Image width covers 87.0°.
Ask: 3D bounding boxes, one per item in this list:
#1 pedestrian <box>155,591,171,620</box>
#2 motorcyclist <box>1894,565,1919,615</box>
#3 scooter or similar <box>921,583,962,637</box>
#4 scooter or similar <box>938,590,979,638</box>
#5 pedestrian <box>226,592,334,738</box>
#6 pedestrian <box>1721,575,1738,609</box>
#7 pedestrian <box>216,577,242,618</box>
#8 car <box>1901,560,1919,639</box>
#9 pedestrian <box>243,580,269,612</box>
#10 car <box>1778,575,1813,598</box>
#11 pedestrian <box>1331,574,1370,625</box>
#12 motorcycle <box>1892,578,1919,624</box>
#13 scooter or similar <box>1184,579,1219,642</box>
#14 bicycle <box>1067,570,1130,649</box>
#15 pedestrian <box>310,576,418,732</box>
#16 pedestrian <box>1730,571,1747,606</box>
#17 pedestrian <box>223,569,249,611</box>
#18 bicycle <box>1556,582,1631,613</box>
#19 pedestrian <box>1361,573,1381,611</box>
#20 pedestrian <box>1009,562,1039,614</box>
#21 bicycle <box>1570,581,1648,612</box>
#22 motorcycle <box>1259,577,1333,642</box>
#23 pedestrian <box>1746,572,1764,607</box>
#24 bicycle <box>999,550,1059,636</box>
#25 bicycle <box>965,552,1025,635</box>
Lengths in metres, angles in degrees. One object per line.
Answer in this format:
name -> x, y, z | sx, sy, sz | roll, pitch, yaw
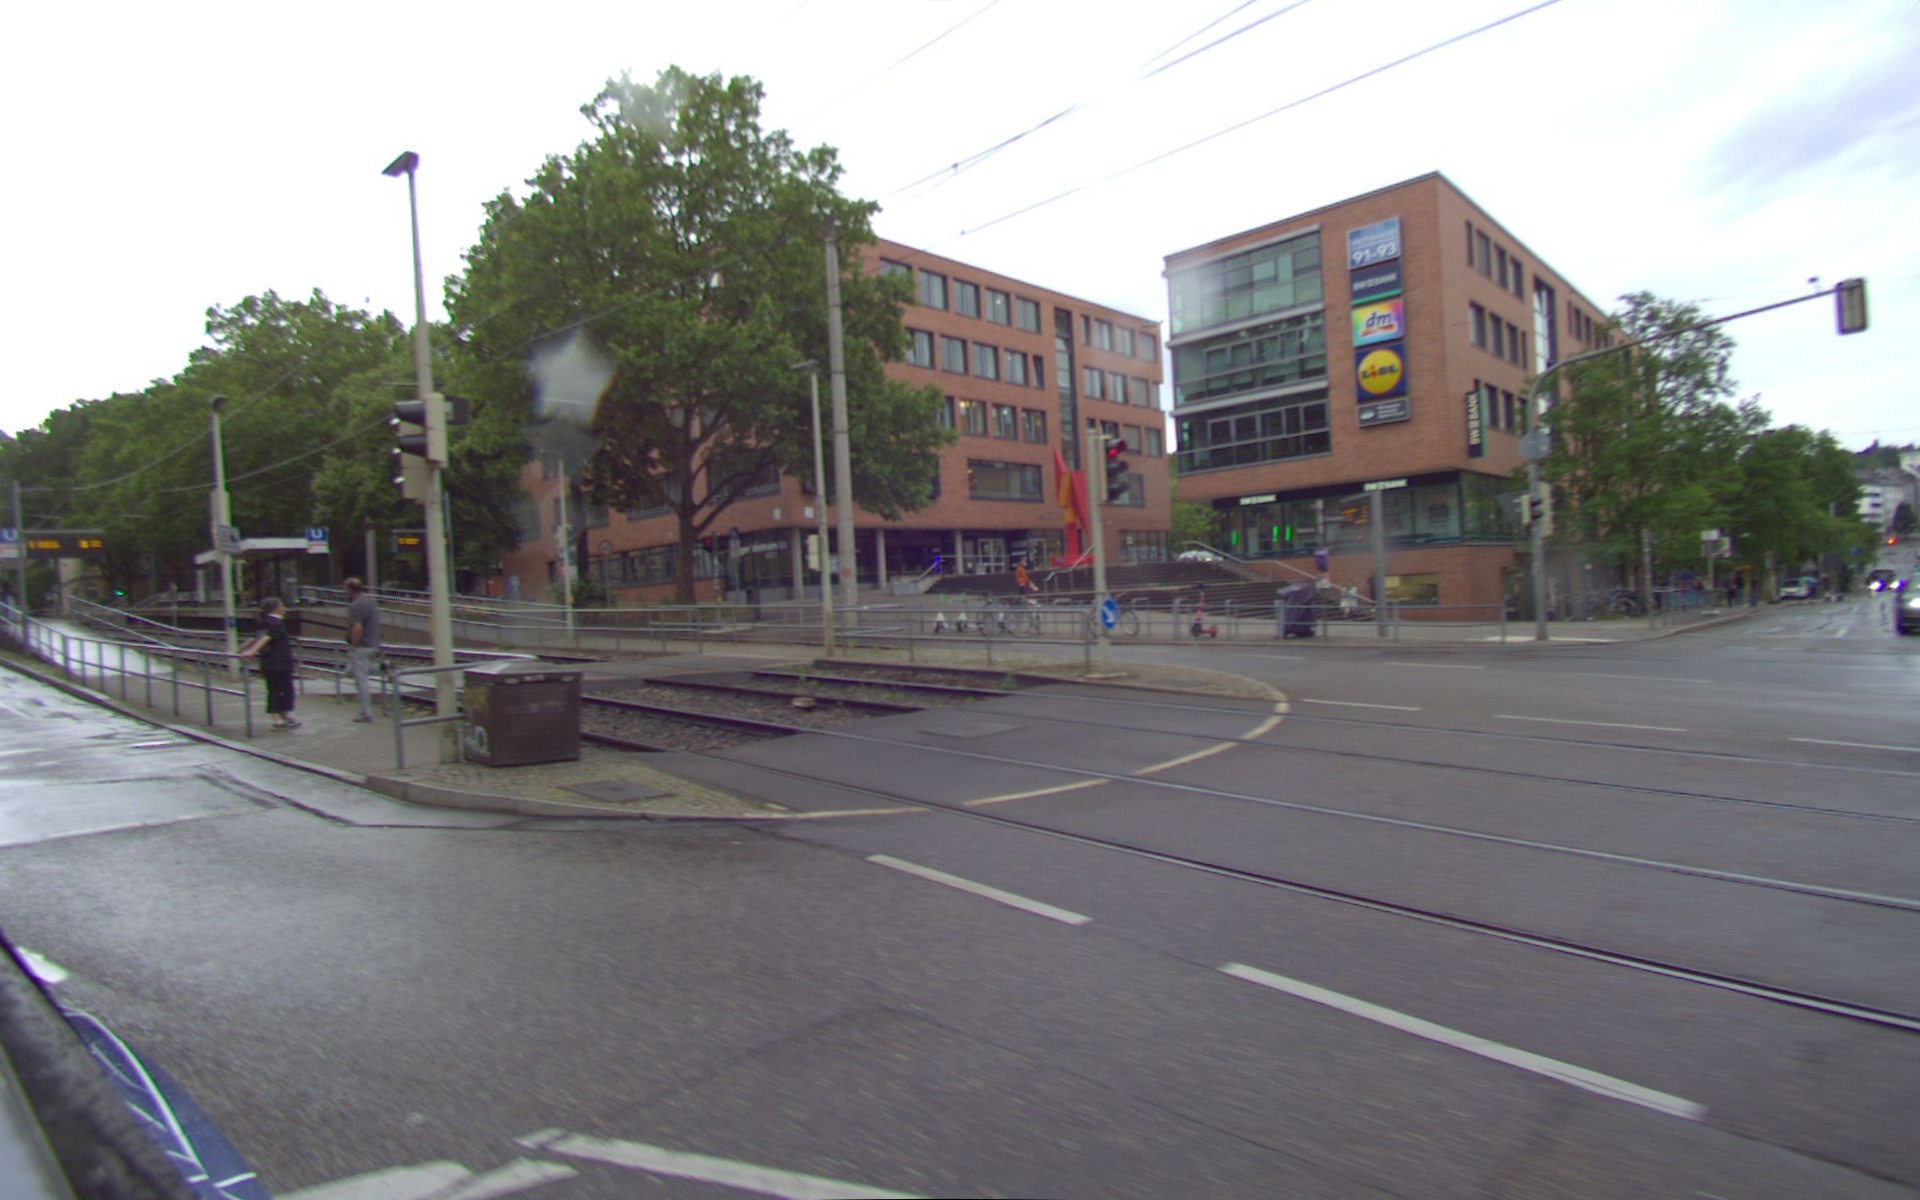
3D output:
pedestrian -> -49.424, 0.340, 62.791 | 0.703, 1.804, 0.668 | -1, 0, 43
motorcyclist -> 25.232, -0.266, 26.711 | 0.842, 1.312, 0.803 | -1, 1, 43
scooter or similar -> -0.485, 0.257, 27.196 | 0.450, 1.381, 1.494 | -2, 1, 25
scooter or similar -> -0.025, 0.362, 26.693 | 0.475, 1.203, 1.706 | -1, 1, 21
pedestrian -> -8.023, 0.729, 11.941 | 1.002, 1.616, 0.825 | -1, 1, 43
pedestrian -> 37.756, -0.385, 49.660 | 0.573, 1.641, 0.480 | -1, 1, 43
pedestrian -> -37.505, -0.135, 51.954 | 0.883, 2.077, 0.827 | -1, 1, 38
car -> 22.362, -0.041, 22.585 | 1.841, 1.678, 3.945 | -1, 0, 41
pedestrian -> -33.878, -0.186, 48.688 | 0.883, 1.494, 0.772 | -1, 1, 38
car -> 61.690, -0.997, 74.724 | 1.817, 1.601, 3.945 | -1, 0, 42
pedestrian -> 13.611, -0.037, 35.301 | 1.009, 1.743, 0.887 | -1, 1, 42
motorcycle -> 25.199, 0.014, 26.691 | 0.866, 1.167, 1.825 | -1, 1, 43
scooter or similar -> 5.581, 0.219, 23.313 | 0.450, 1.381, 1.494 | -2, 1, 25
bicycle -> 3.300, 0.191, 23.908 | 0.556, 1.710, 2.072 | 1, 4, 35
pedestrian -> -7.330, 0.631, 12.446 | 1.001, 1.812, 0.817 | -1, 1, 40
pedestrian -> 37.113, -0.547, 48.259 | 0.574, 1.641, 0.565 | -1, 1, 41
pedestrian -> -36.627, -0.510, 51.221 | 0.883, 2.077, 0.827 | -1, 1, 38
bicycle -> 23.837, -0.083, 38.101 | 2.362, 1.109, 0.691 | -1, 1, 35
pedestrian -> 17.171, -0.334, 42.284 | 0.591, 1.577, 0.513 | -1, 1, 41
pedestrian -> 2.249, -0.435, 35.652 | 0.780, 1.757, 1.073 | -2, 5, -14
bicycle -> 24.726, -0.137, 38.586 | 0.840, 1.109, 2.369 | -3, 2, -44
motorcycle -> 7.643, 0.179, 22.924 | 0.864, 1.381, 2.627 | -1, 1, 35
pedestrian -> 37.813, -0.499, 48.145 | 0.599, 1.641, 0.565 | -1, 1, 41
bicycle -> 1.727, -0.202, 25.082 | 0.517, 2.028, 1.874 | -1, 2, 35
bicycle -> 0.911, -0.189, 25.655 | 0.517, 2.028, 1.874 | -1, 2, 35
